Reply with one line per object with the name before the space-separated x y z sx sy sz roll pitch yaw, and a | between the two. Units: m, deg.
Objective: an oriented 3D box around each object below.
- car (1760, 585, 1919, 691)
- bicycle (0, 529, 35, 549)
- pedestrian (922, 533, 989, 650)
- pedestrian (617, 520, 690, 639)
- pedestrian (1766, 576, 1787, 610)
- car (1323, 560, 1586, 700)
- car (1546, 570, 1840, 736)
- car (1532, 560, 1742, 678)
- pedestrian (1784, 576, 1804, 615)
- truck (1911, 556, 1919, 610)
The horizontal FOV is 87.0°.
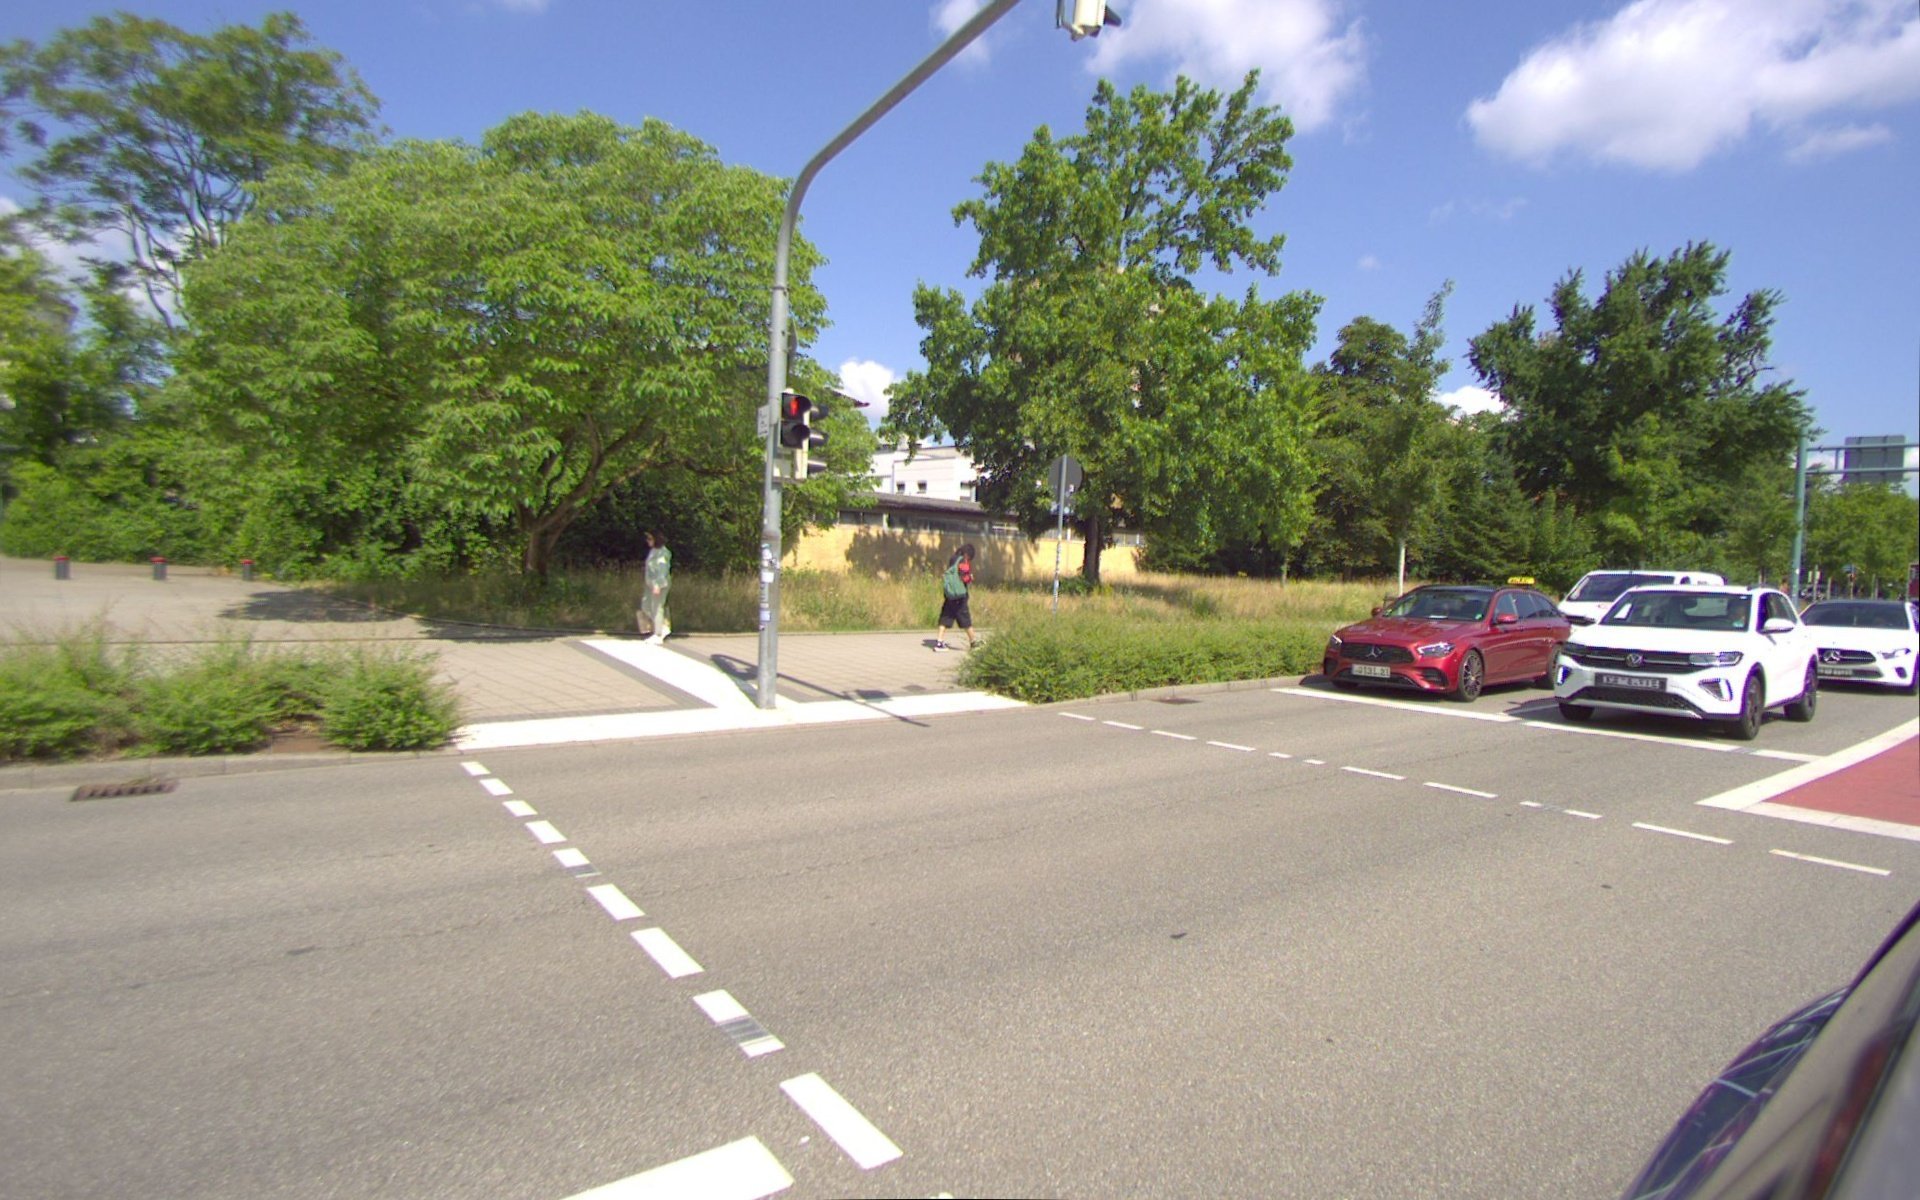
car | 14.924 0.549 16.637 4.306 1.441 1.908 0 2 -40
bicycle | -37.309 -2.400 39.668 1.531 0.728 0.508 0 3 -38
pedestrian | -0.072 -0.143 15.592 0.666 1.757 0.745 0 2 -37
pedestrian | -4.444 -0.310 14.656 0.708 1.658 0.870 0 2 -39
pedestrian | 39.429 -0.328 48.852 0.696 1.600 0.624 1 2 -41
car | 7.045 0.339 14.216 4.384 1.661 1.684 0 2 -41
car | 8.383 0.484 11.453 3.940 1.559 1.795 0 1 -40
car | 12.681 0.297 18.828 4.739 1.893 1.947 0 2 -40
pedestrian | 39.983 -0.210 48.532 0.627 1.824 0.568 1 2 -41
truck | 68.497 -1.005 67.043 2.618 3.846 9.185 2 2 4
